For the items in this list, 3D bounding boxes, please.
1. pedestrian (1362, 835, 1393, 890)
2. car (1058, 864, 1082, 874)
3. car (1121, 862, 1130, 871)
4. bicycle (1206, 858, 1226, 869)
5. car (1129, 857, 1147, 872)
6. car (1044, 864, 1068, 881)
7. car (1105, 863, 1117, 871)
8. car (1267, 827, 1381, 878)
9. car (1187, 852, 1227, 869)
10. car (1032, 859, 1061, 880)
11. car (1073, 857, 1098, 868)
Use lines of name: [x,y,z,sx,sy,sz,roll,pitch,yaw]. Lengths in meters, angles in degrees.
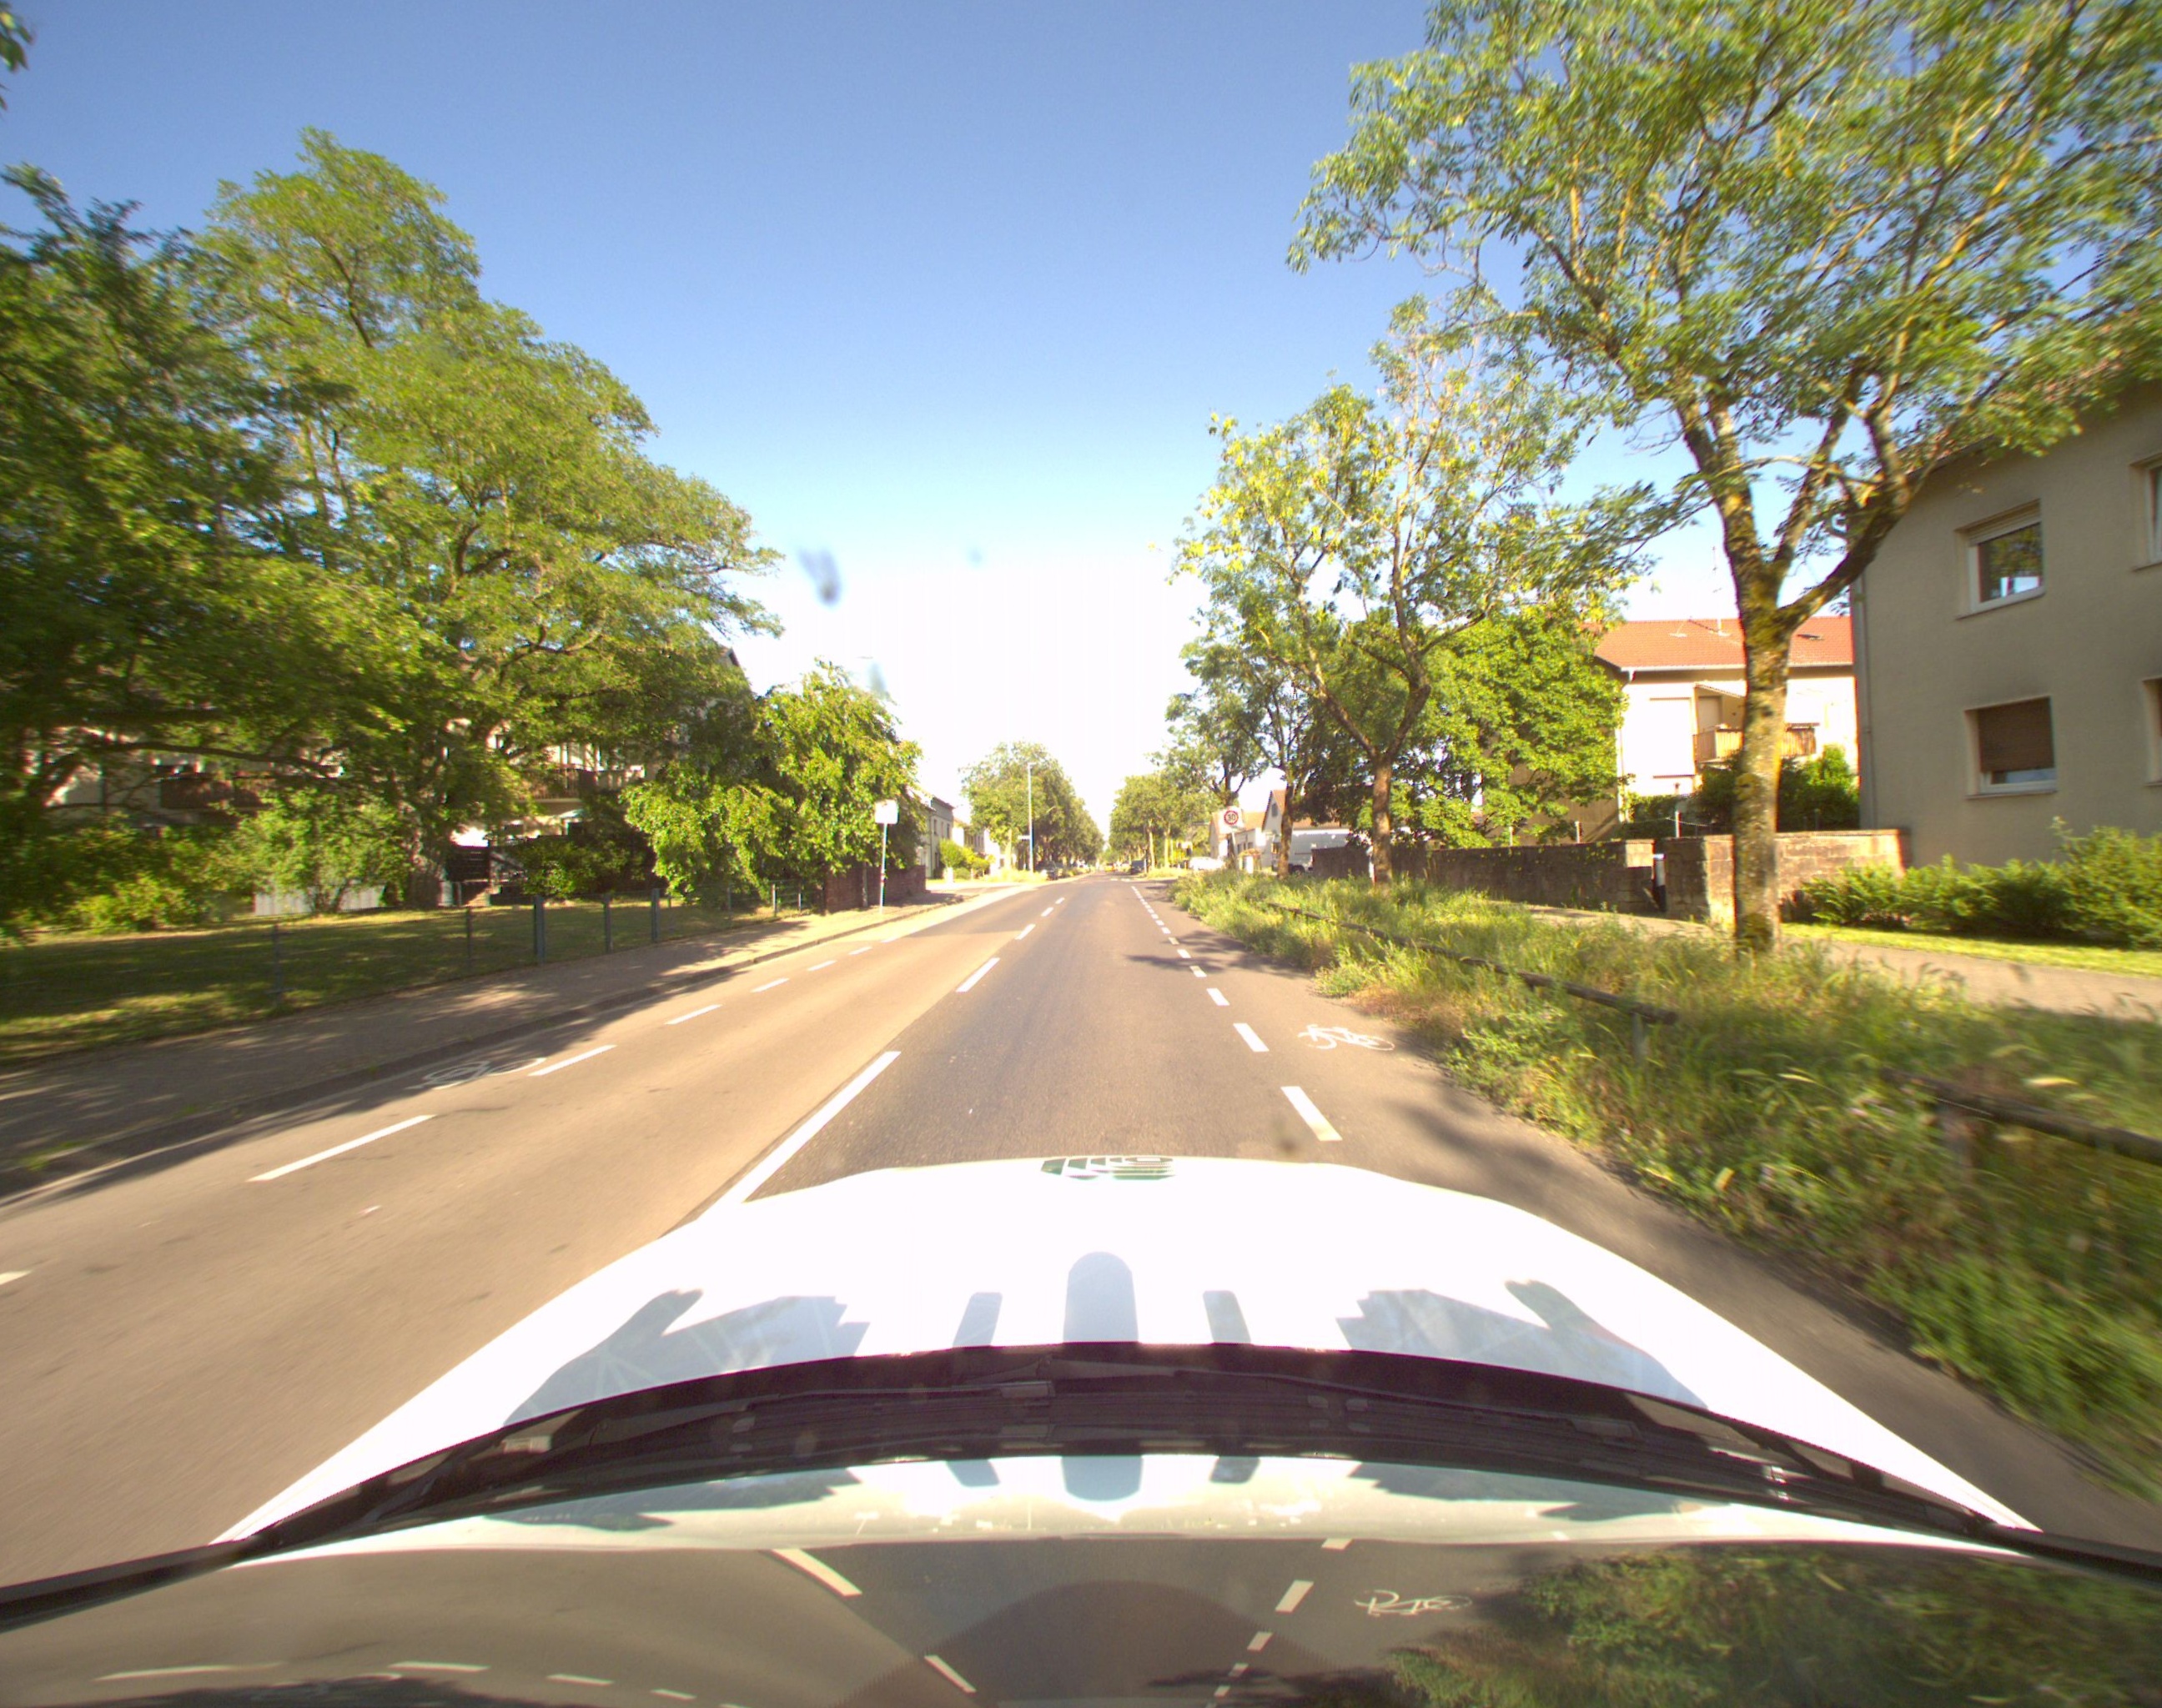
pedestrian: [9.510,0.267,26.148,0.635,1.705,0.612,-5,0,1]
car: [-2.054,2.836,150.668,4.535,1.765,1.998,-1,1,-3]
car: [9.298,2.577,169.501,1.895,1.774,4.303,-1,-1,2]
bicycle: [14.105,0.951,84.899,1.951,0.998,0.576,-4,0,0]
car: [6.701,1.245,96.380,1.846,1.626,4.471,-4,-2,2]
car: [-2.442,1.890,80.770,1.931,1.609,4.386,-1,-2,3]
car: [5.180,2.245,139.982,1.882,1.479,3.887,0,-1,0]
car: [13.412,-0.099,45.148,5.578,2.539,2.265,-2,0,-1]
car: [13.587,0.676,87.913,3.974,1.488,1.902,-4,1,0]
car: [-2.862,1.346,69.007,1.945,1.727,4.878,-1,-2,3]
car: [0.920,1.948,178.677,5.480,2.247,2.517,-1,1,0]
